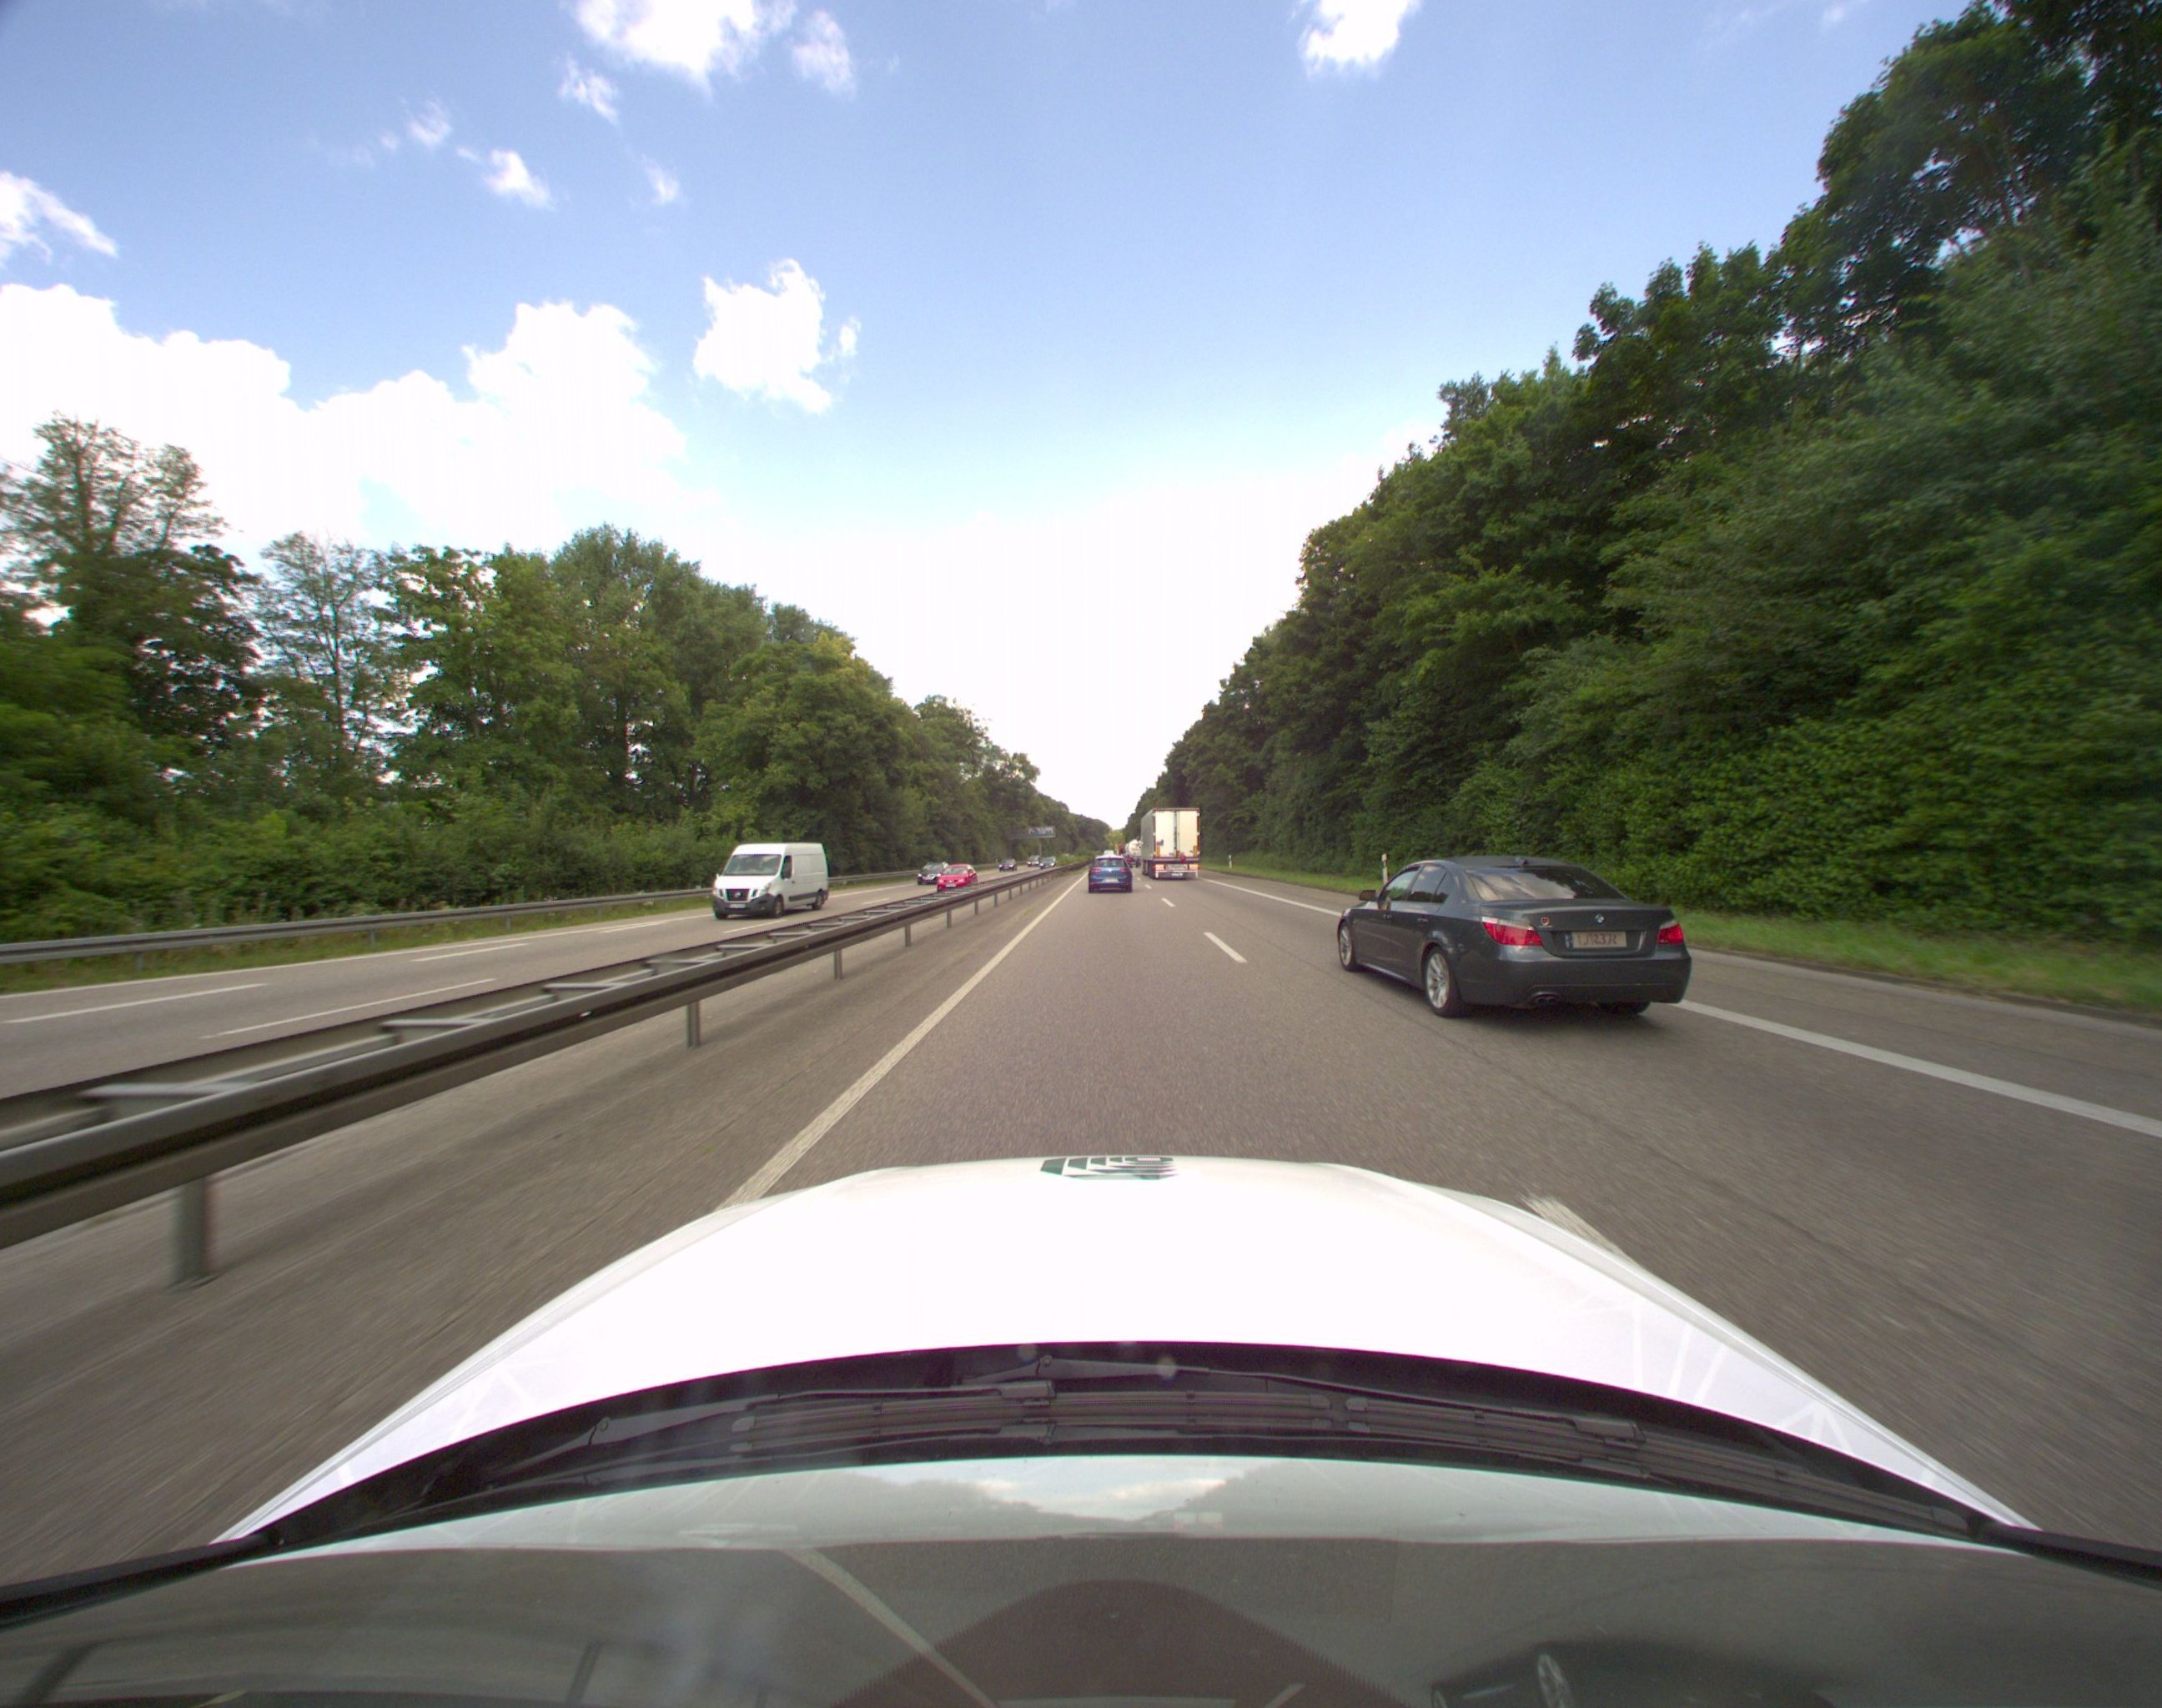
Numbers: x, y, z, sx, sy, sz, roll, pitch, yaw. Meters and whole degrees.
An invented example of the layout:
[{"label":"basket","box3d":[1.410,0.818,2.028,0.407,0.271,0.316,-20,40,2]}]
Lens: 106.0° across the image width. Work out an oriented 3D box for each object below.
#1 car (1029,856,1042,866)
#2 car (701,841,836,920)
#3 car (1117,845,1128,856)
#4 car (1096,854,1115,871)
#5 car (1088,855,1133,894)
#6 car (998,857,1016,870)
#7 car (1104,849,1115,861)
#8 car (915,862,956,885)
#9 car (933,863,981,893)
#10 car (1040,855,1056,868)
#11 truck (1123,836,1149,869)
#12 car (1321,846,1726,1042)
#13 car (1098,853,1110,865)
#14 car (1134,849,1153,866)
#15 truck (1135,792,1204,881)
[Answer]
[{"label":"car","box3d":[-7.301,1.154,130.538,1.753,1.593,4.635,-1,0,1]},{"label":"car","box3d":[-10.517,0.817,28.000,2.102,2.423,5.835,-1,0,3]},{"label":"car","box3d":[8.980,-0.715,174.739,1.987,2.327,4.441,-2,0,-1]},{"label":"car","box3d":[2.193,0.742,72.817,1.659,1.500,4.154,-1,0,2]},{"label":"car","box3d":[1.184,0.791,33.163,1.699,1.470,4.001,-1,0,1]},{"label":"car","box3d":[-9.037,1.143,99.630,1.673,1.519,4.860,-2,0,1]},{"label":"car","box3d":[5.998,0.194,171.333,1.987,2.255,4.441,-2,0,-1]},{"label":"car","box3d":[-10.017,1.325,56.466,1.778,1.478,4.573,-1,0,3]},{"label":"car","box3d":[-6.433,1.207,42.537,1.671,1.454,4.130,-1,0,3]},{"label":"car","box3d":[-4.135,0.975,102.788,1.774,1.519,4.267,-2,0,1]},{"label":"truck","box3d":[7.861,-0.184,117.716,3.219,4.386,12.977,-1,-1,2]},{"label":"car","box3d":[4.109,0.691,8.681,1.768,1.475,4.882,-1,0,2]},{"label":"car","box3d":[4.176,0.889,147.512,1.986,2.013,4.002,-2,0,2]},{"label":"car","box3d":[6.787,0.328,89.188,1.881,1.729,4.002,-2,0,2]},{"label":"truck","box3d":[5.207,-0.962,49.976,3.229,4.716,11.012,-2,0,2]}]
